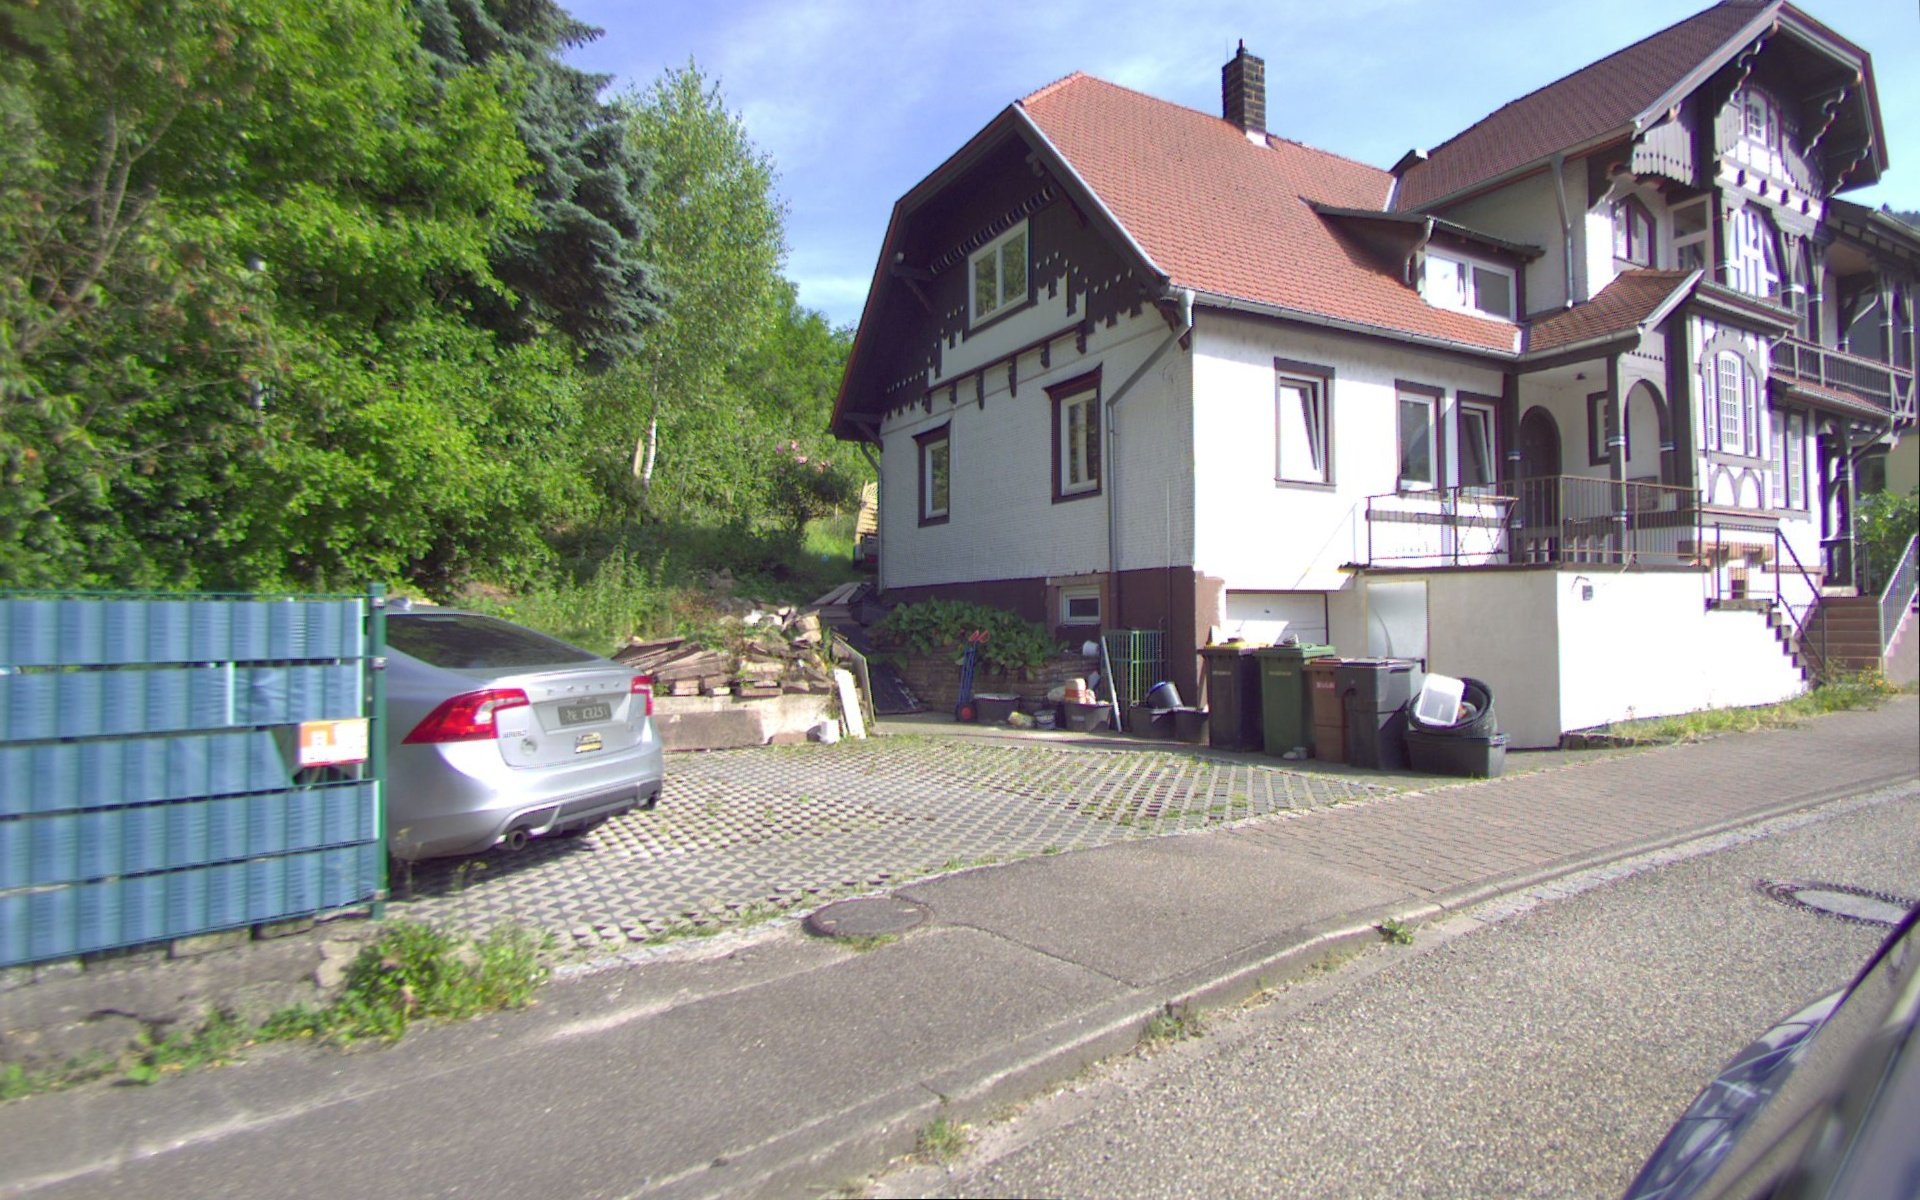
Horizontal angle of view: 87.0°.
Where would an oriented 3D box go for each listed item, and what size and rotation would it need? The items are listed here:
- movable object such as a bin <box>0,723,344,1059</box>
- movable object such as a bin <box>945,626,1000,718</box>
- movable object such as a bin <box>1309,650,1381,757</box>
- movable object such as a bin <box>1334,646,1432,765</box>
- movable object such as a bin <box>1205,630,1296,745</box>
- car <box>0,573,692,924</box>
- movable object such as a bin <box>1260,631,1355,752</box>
[{"bbox_3d":[-3.379,0.936,3.143,2.489,0.858,0.858,-1,-2,-33],"label":"movable object such as a bin"},{"bbox_3d":[0.153,0.882,12.569,0.524,1.097,0.425,-2,-2,44],"label":"movable object such as a bin"},{"bbox_3d":[3.495,0.919,9.188,0.537,0.911,0.368,0,-2,-39],"label":"movable object such as a bin"},{"bbox_3d":[3.630,0.885,8.688,0.640,0.949,0.473,0,-2,-33],"label":"movable object such as a bin"},{"bbox_3d":[2.872,0.845,10.020,0.738,1.076,0.479,0,-2,-33],"label":"movable object such as a bin"},{"bbox_3d":[-3.906,0.662,5.976,4.278,1.488,1.823,0,-2,22],"label":"car"},{"bbox_3d":[3.297,0.842,9.604,0.738,1.076,0.479,0,-2,-33],"label":"movable object such as a bin"}]
